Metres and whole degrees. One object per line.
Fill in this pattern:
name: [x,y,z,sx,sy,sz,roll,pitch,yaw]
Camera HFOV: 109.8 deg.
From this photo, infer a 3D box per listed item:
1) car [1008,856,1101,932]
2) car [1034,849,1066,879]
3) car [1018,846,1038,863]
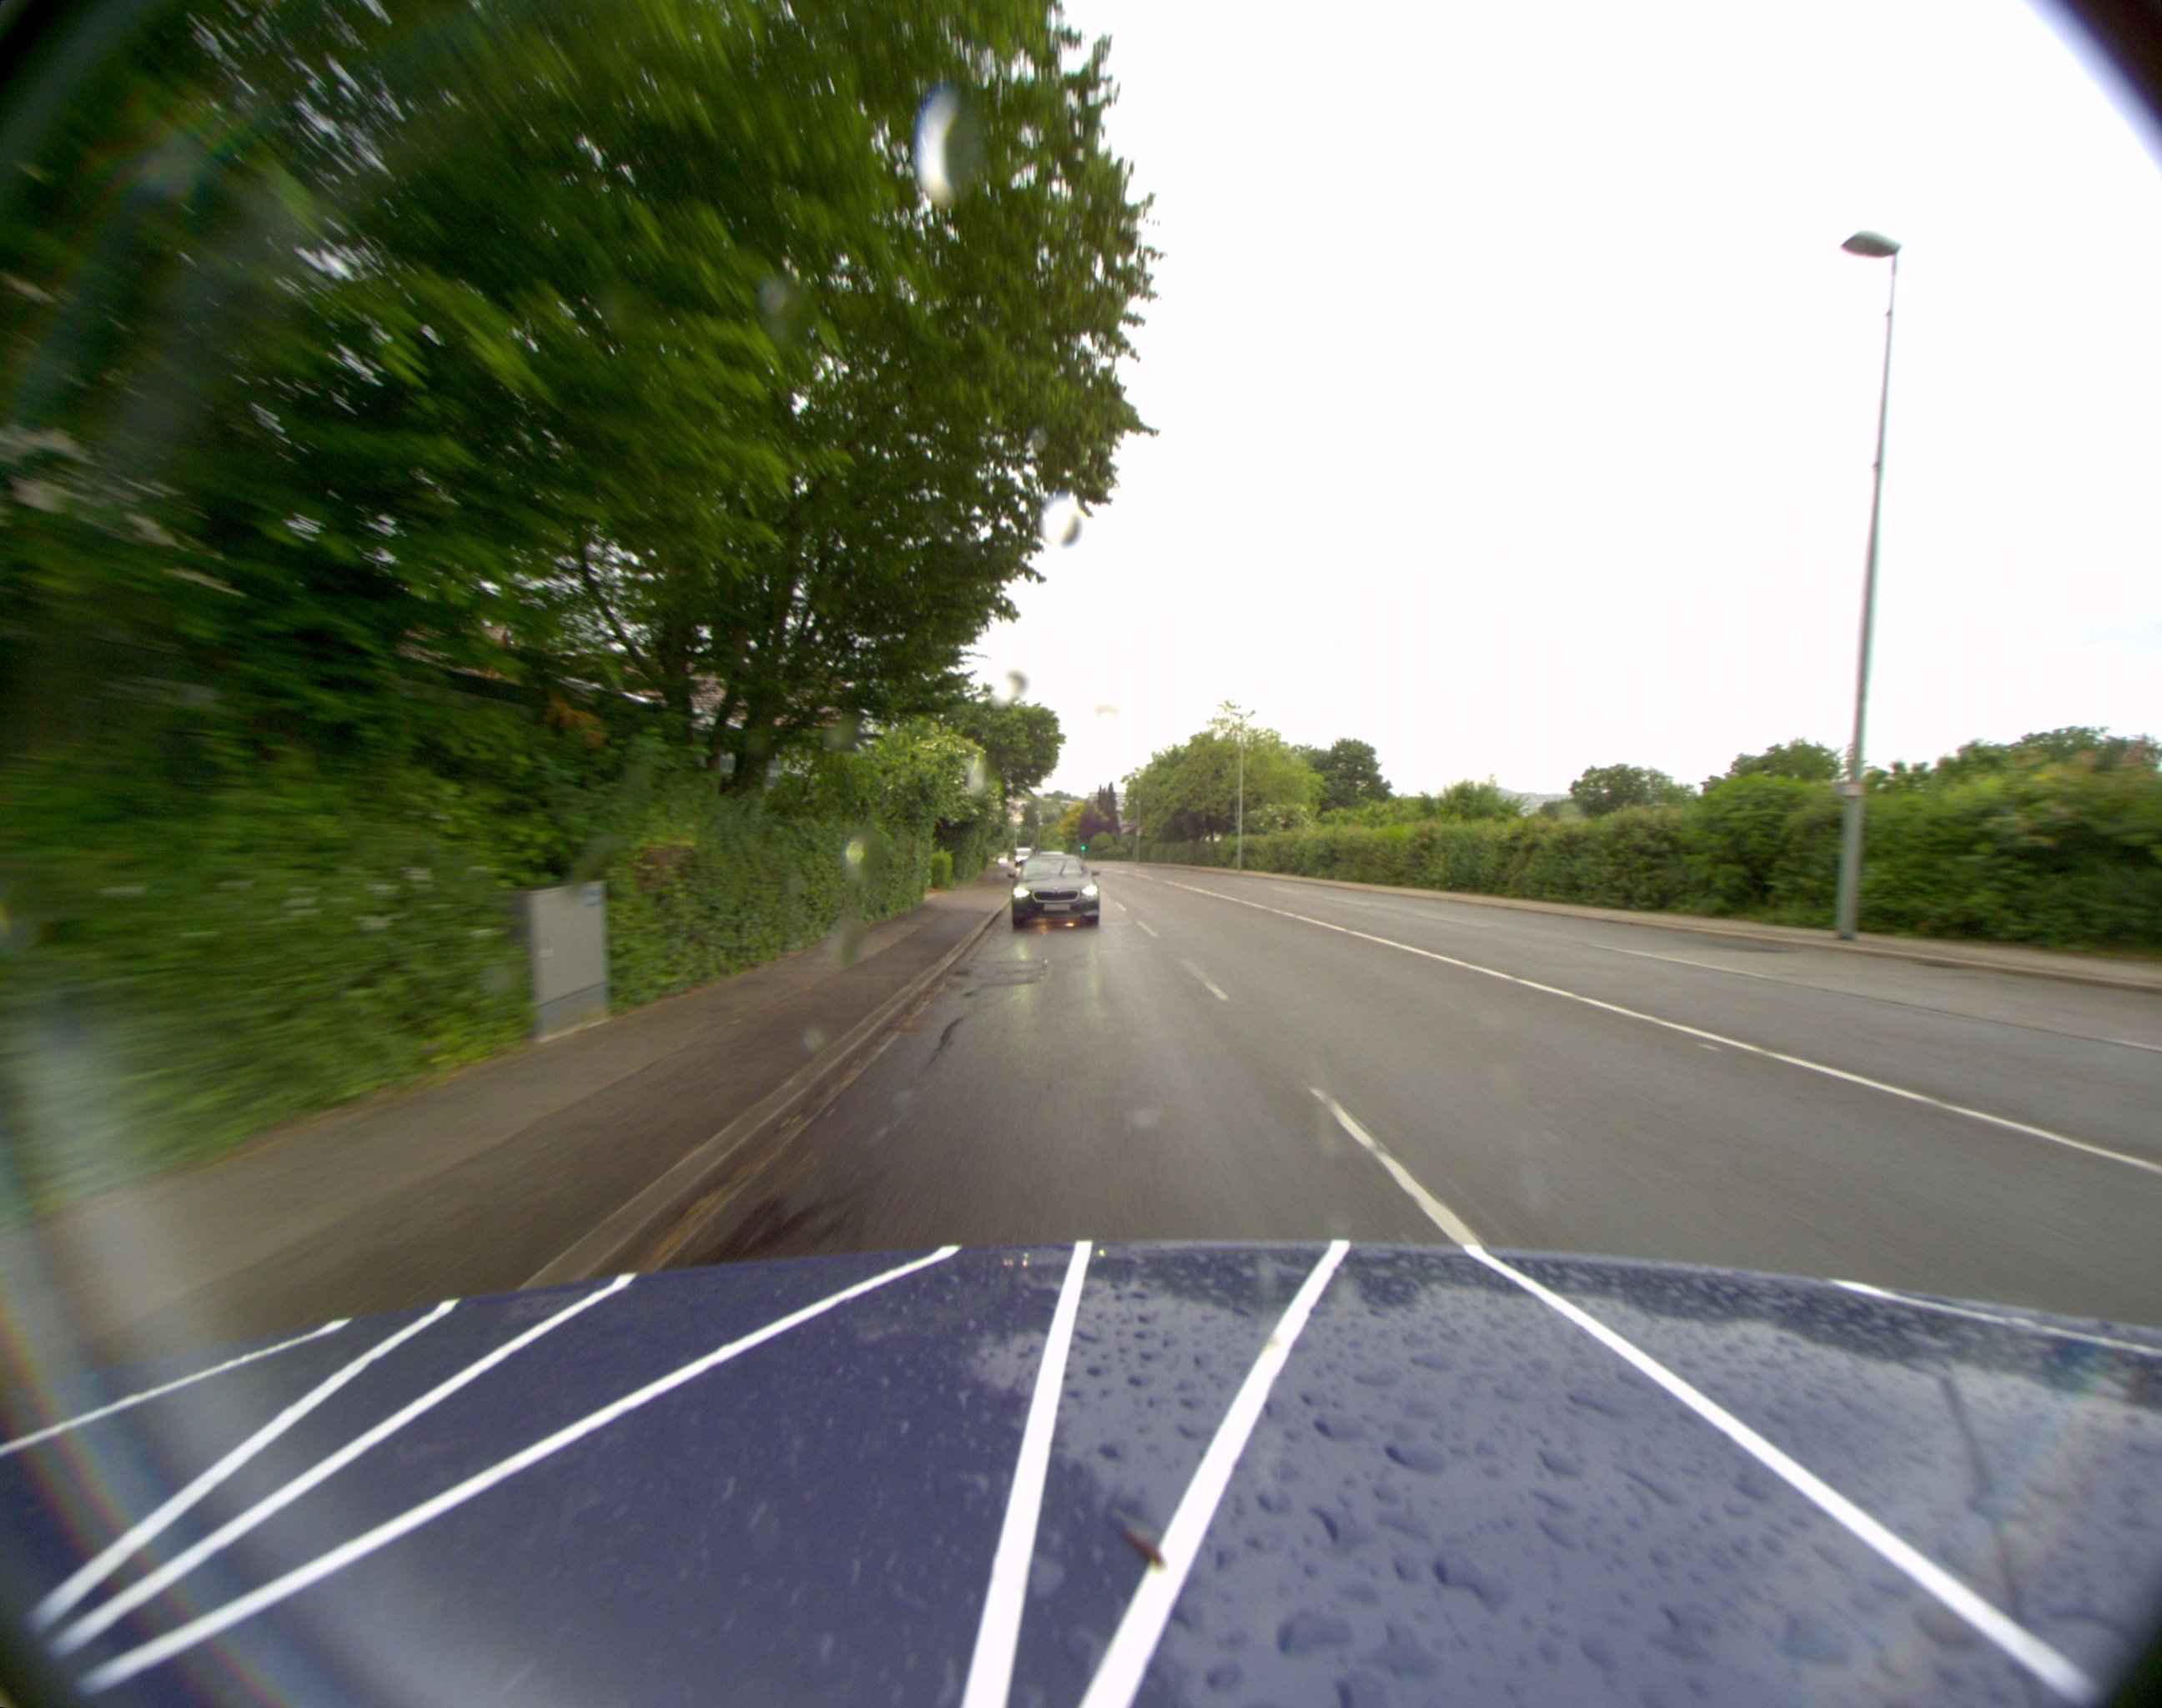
car: [-0.646,0.831,17.706,1.846,1.371,4.281,-3,1,-3]
car: [-1.670,0.476,39.760,1.551,1.505,4.281,0,1,-4]
car: [-5.357,0.035,76.877,1.704,1.670,4.279,0,0,-8]
